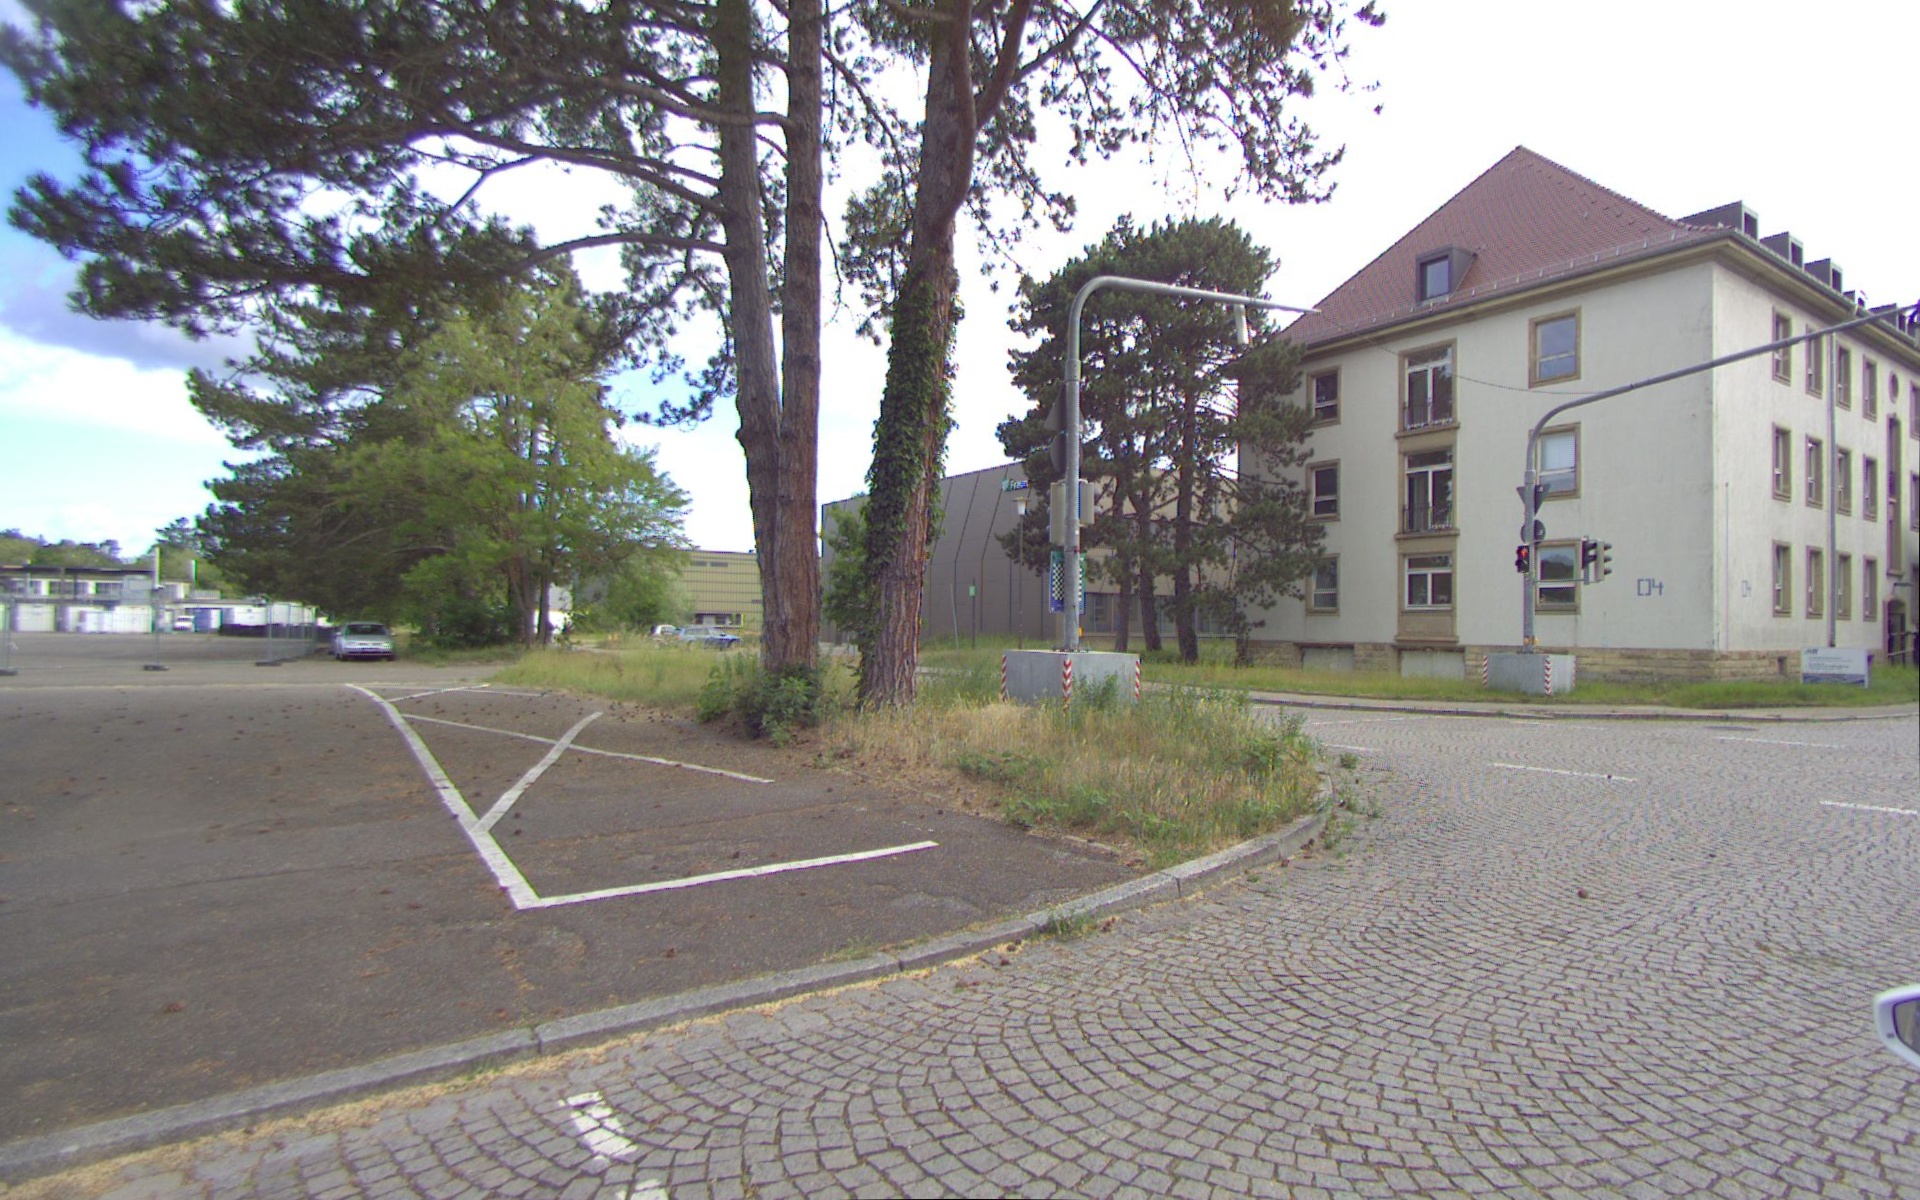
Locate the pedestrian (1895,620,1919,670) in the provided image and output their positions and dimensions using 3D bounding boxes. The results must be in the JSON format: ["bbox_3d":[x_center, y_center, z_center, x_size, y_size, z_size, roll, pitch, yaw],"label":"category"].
[{"bbox_3d":[35.040,1.631,36.855,0.929,1.804,0.834,1,-1,-29],"label":"pedestrian"}]

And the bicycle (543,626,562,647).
[{"bbox_3d":[-29.153,2.621,71.899,0.818,1.395,2.022,2,-1,-35],"label":"bicycle"}]

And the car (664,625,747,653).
[{"bbox_3d":[-15.241,2.306,60.165,4.453,1.482,1.914,0,-1,-37],"label":"car"}]

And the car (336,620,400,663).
[{"bbox_3d":[-22.160,1.523,37.538,1.718,1.451,4.120,2,-1,-35],"label":"car"}]

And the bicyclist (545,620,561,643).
[{"bbox_3d":[-29.120,2.263,71.881,0.892,1.562,0.859,2,-1,-36],"label":"bicyclist"}]

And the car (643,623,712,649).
[{"bbox_3d":[-18.753,2.382,66.714,4.082,1.593,1.746,0,-1,-37],"label":"car"}]
